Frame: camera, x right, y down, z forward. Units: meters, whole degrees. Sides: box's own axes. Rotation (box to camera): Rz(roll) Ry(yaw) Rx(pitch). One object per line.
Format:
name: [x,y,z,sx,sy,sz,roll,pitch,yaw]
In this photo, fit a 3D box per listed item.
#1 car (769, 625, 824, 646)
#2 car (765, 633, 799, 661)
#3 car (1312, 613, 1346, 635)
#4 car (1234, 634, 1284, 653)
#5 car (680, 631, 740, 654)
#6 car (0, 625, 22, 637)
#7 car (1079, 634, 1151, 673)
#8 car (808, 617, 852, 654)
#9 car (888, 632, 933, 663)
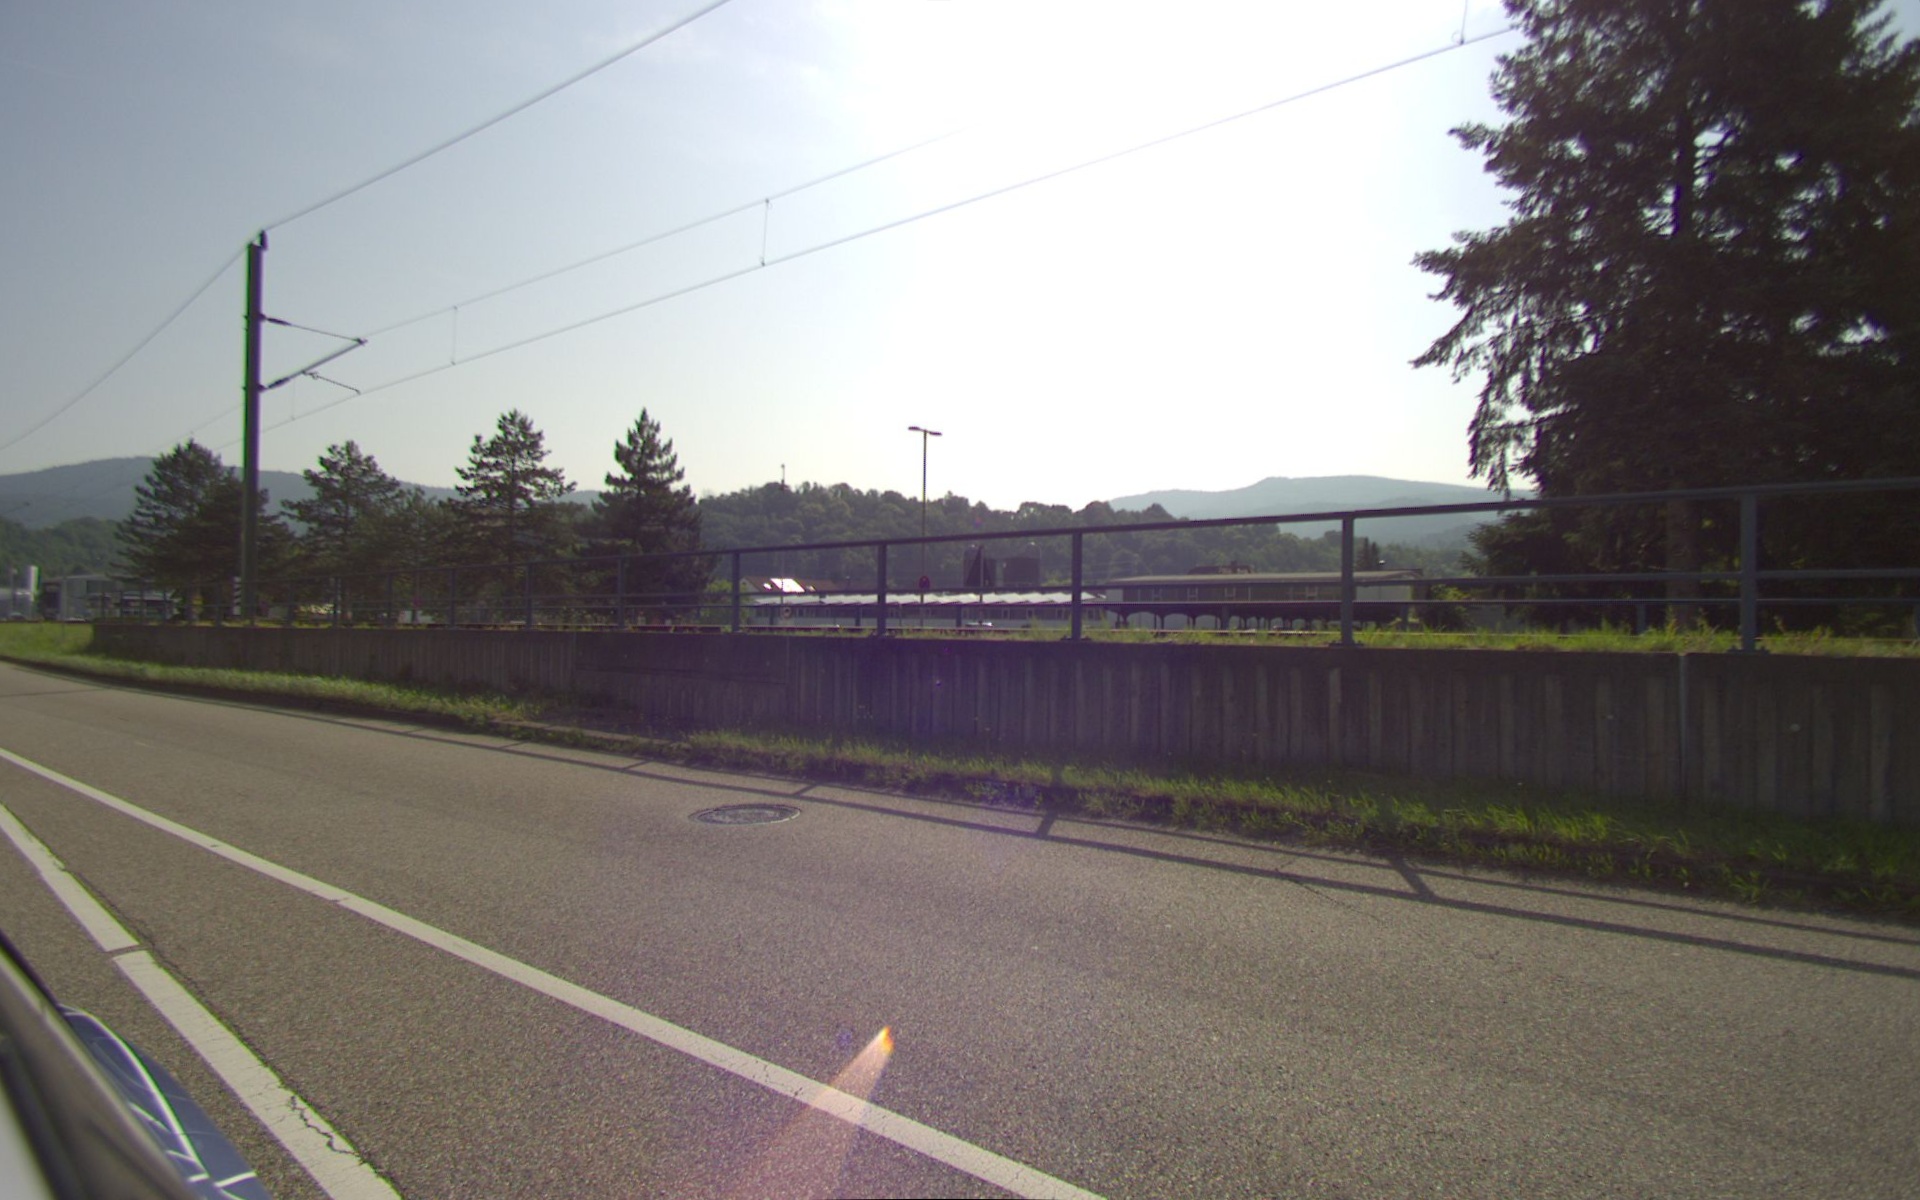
car: [-11.121,2.419,68.696,3.476,1.335,1.462,2,-2,-18]
car: [-9.051,2.356,51.290,1.433,1.335,3.546,1,-2,-14]
car: [29.008,1.858,79.445,1.811,1.678,3.958,-1,-1,31]
car: [22.306,3.248,75.563,3.501,1.335,1.451,1,-2,13]
car: [-15.487,2.616,62.672,3.476,1.335,1.462,2,-2,-18]
car: [-142.227,4.655,151.604,4.356,1.701,1.507,0,0,32]
car: [6.875,2.314,44.705,1.811,1.548,3.958,-1,-1,31]
car: [-6.387,1.722,49.376,1.618,1.701,3.816,1,-2,-15]
car: [-2.338,2.185,47.110,1.433,1.335,3.546,1,-2,-14]
